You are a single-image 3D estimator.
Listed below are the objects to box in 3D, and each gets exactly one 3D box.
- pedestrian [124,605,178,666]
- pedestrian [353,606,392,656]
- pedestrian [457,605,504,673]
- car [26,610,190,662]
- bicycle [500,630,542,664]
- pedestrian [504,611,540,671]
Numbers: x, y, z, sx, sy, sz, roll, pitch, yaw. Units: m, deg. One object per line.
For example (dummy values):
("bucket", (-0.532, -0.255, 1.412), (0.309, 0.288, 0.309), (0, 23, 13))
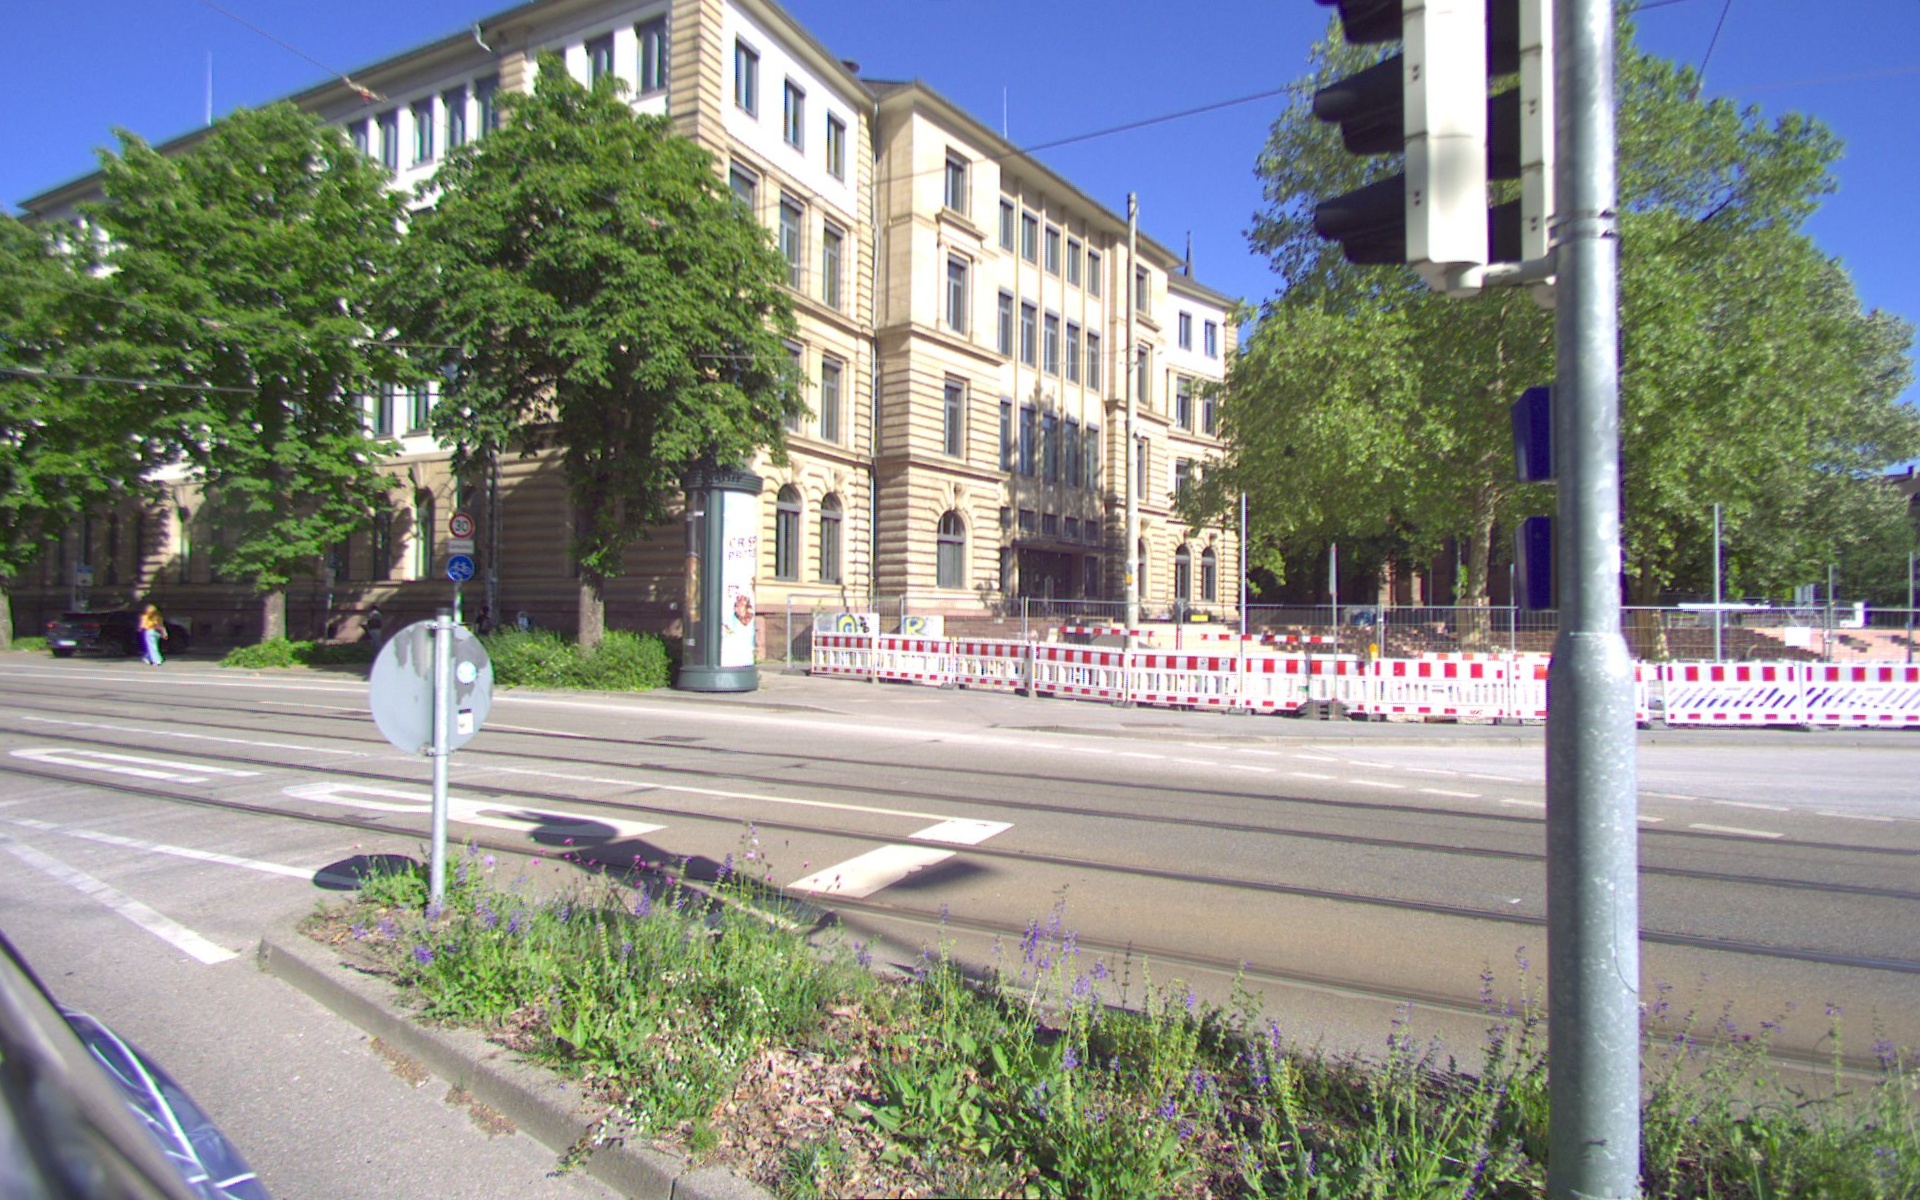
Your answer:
("pedestrian", (-22.911, 1.020, 28.660), (1.027, 1.682, 0.766), (-4, -5, 23))
("pedestrian", (-18.944, 0.986, 32.648), (0.853, 1.578, 0.668), (0, 2, 23))
("pedestrian", (-12.328, 0.999, 26.034), (0.845, 1.682, 0.721), (2, 0, 37))
("car", (-27.600, 1.148, 32.982), (1.894, 1.586, 4.110), (0, -1, 0))
("bicycle", (-12.773, 1.358, 29.457), (1.355, 0.910, 0.394), (1, 0, 30))
("pedestrian", (-11.621, 1.083, 26.878), (0.651, 1.574, 0.573), (0, -2, 28))
